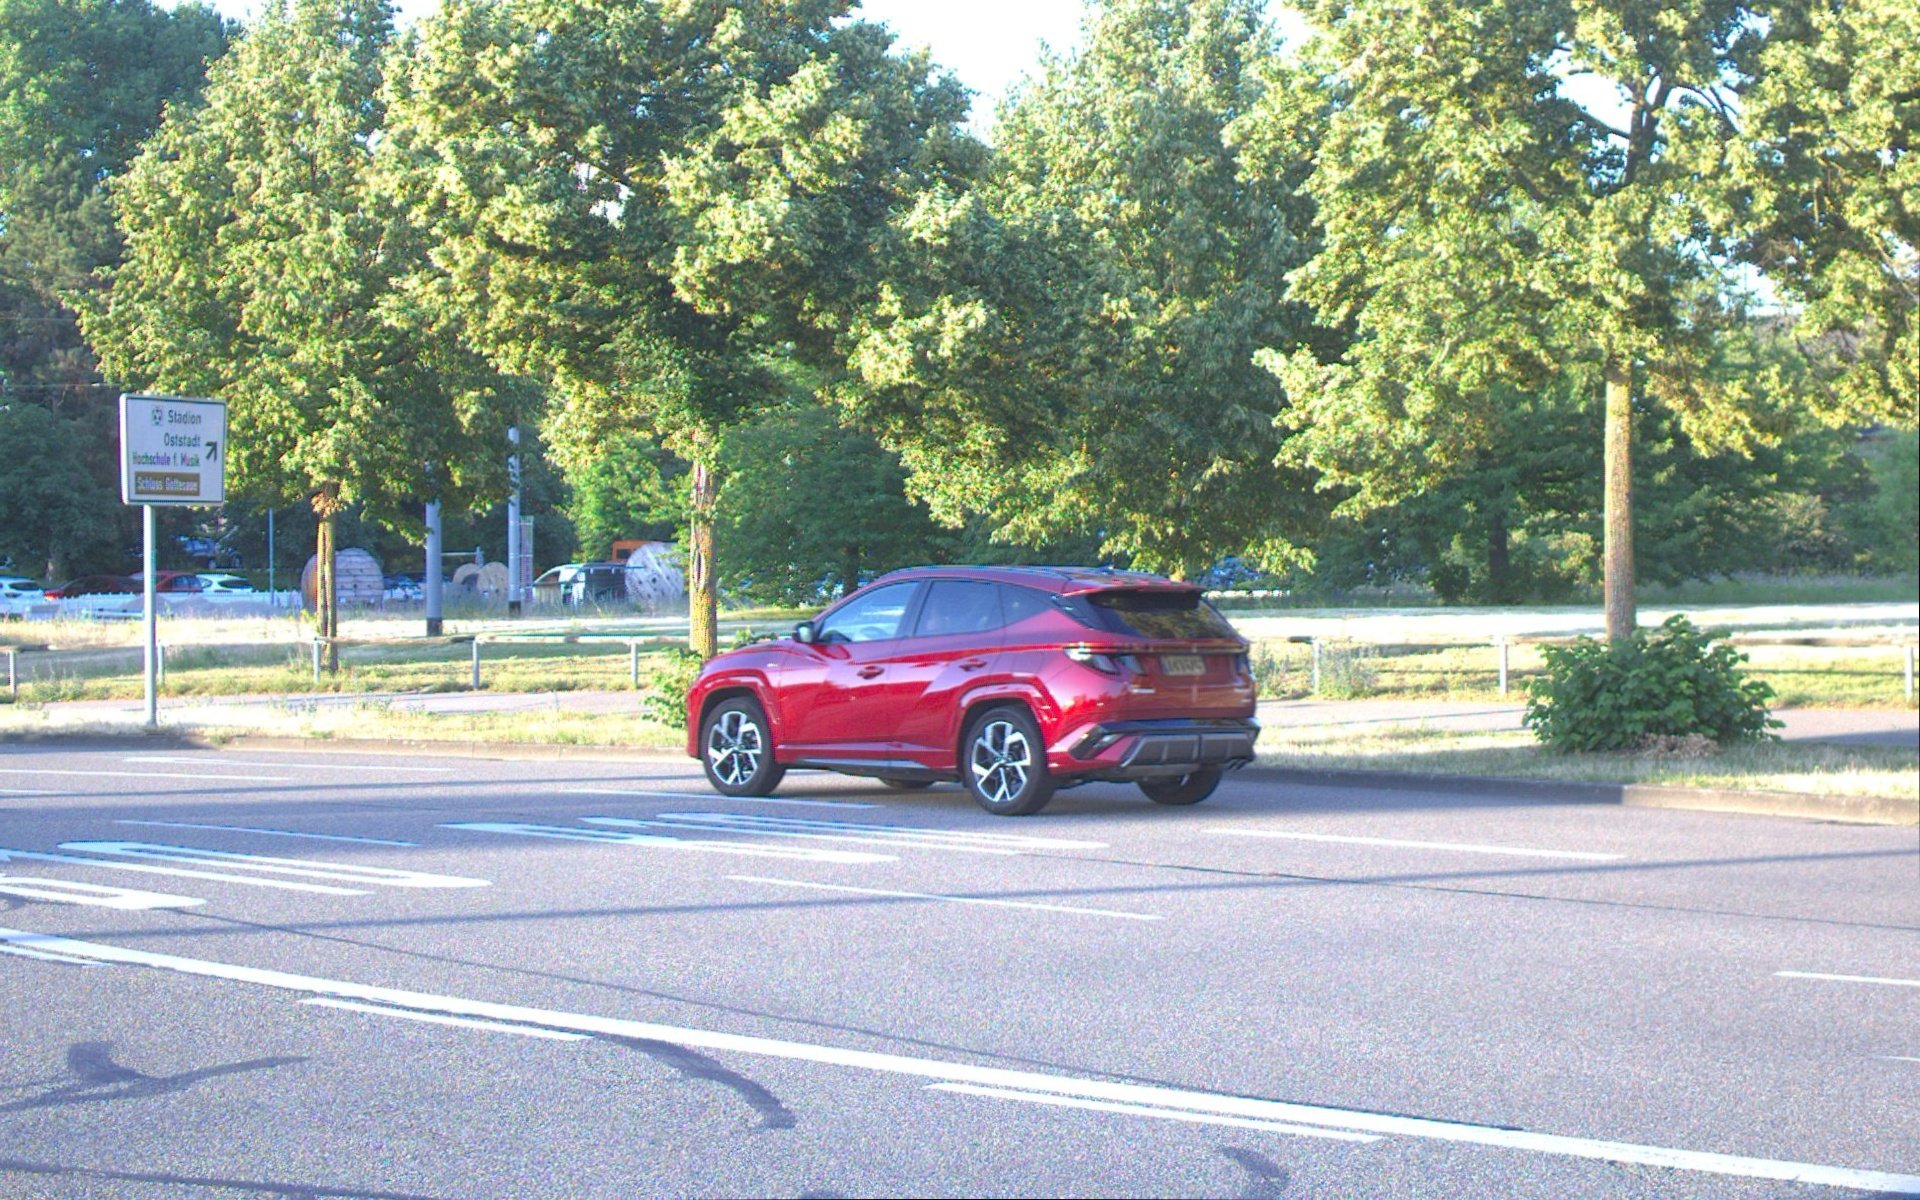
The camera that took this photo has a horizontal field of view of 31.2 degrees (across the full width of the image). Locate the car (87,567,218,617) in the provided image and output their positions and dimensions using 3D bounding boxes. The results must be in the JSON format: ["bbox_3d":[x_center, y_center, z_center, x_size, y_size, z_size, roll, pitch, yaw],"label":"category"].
[{"bbox_3d":[-26.794,-0.269,114.103,3.994,1.598,1.996,0,1,33],"label":"car"}]

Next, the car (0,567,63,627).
[{"bbox_3d":[-33.167,-0.101,117.681,4.582,2.007,2.001,-1,1,-9],"label":"car"}]

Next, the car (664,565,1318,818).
[{"bbox_3d":[0.136,0.551,23.885,1.995,1.568,4.413,-1,1,-45],"label":"car"}]

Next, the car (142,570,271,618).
[{"bbox_3d":[-25.391,-0.213,115.833,3.994,1.598,1.996,0,1,33],"label":"car"}]

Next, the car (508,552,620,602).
[{"bbox_3d":[-13.248,-0.783,114.892,1.734,1.612,3.998,-1,1,-41],"label":"car"}]

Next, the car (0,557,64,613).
[{"bbox_3d":[-35.253,-0.559,125.814,4.582,2.007,2.001,-1,1,-9],"label":"car"}]

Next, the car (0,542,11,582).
[{"bbox_3d":[-42.434,-1.587,145.371,3.988,1.700,2.000,0,1,7],"label":"car"}]

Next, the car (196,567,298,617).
[{"bbox_3d":[-26.840,-0.329,129.311,1.994,1.746,4.597,-1,2,-37],"label":"car"}]
